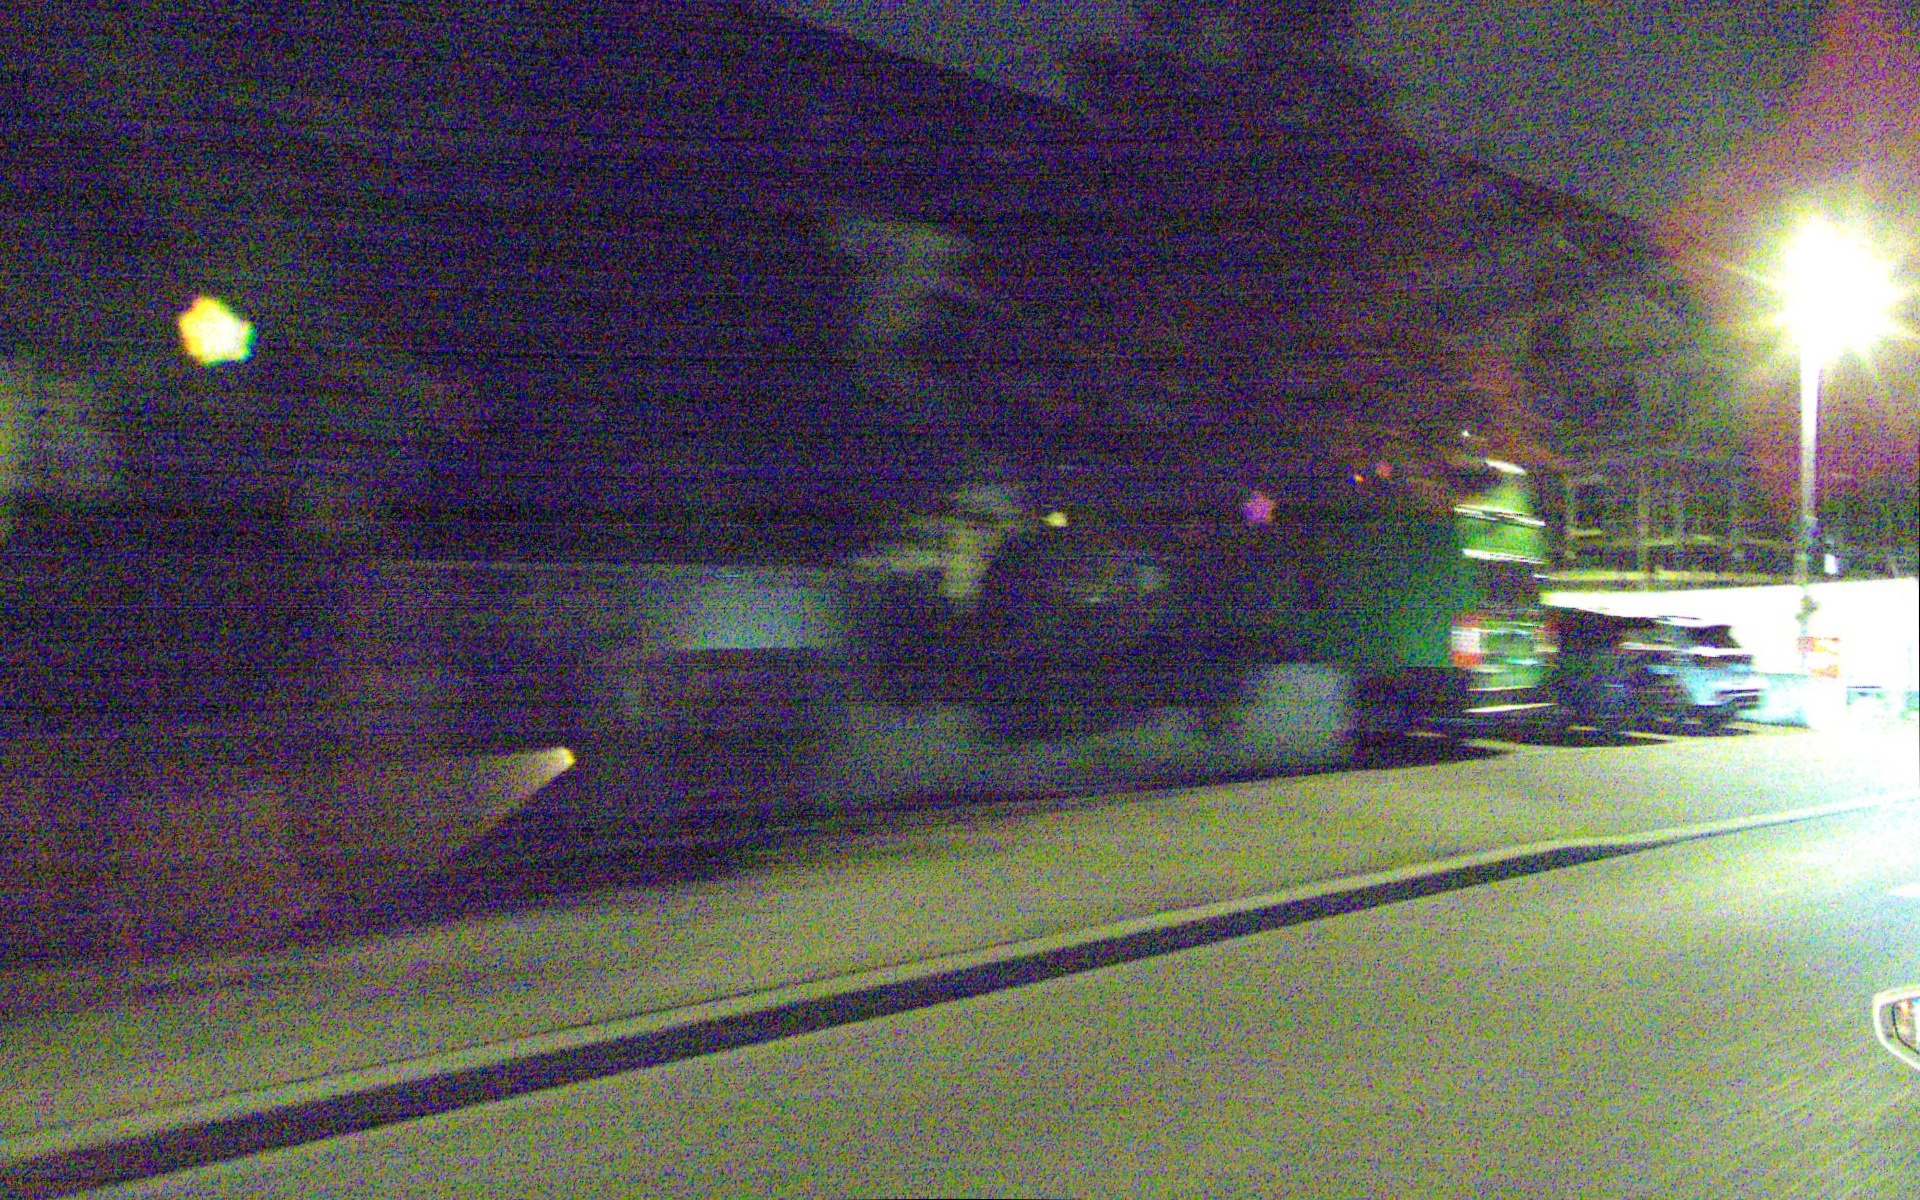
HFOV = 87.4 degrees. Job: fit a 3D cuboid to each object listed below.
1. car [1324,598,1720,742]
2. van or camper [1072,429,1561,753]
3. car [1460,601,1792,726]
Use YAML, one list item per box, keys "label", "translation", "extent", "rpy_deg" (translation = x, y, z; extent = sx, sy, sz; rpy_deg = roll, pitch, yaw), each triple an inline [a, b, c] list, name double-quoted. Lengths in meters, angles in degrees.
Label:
- label: "car"
  translation: [7.574, 0.850, 14.029]
  extent: [2.040, 1.634, 4.397]
  rpy_deg: [3, -1, -29]
- label: "van or camper"
  translation: [4.105, -0.153, 12.536]
  extent: [2.114, 3.152, 5.354]
  rpy_deg: [1, 1, -39]
- label: "car"
  translation: [10.011, 0.851, 15.398]
  extent: [1.904, 1.576, 3.792]
  rpy_deg: [1, 1, -30]
